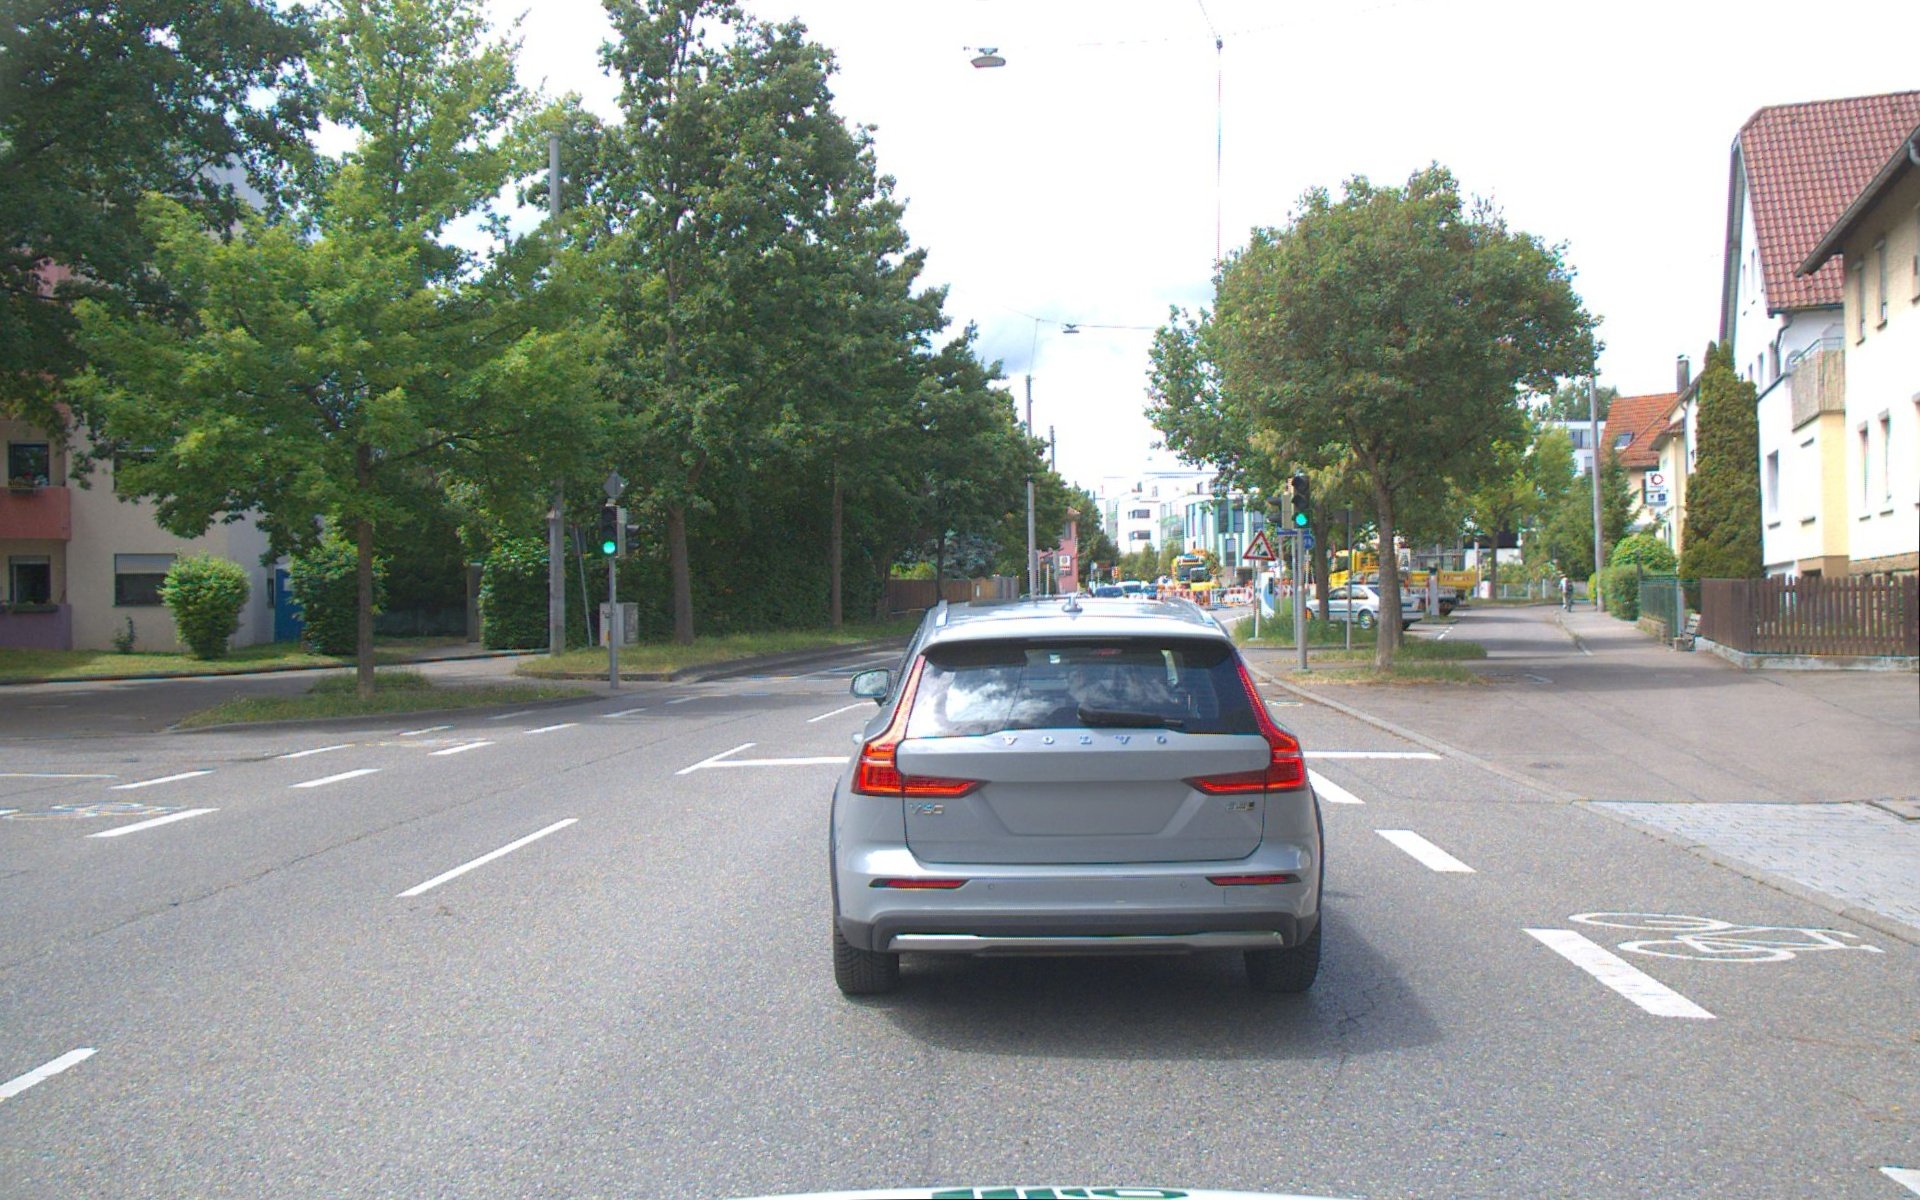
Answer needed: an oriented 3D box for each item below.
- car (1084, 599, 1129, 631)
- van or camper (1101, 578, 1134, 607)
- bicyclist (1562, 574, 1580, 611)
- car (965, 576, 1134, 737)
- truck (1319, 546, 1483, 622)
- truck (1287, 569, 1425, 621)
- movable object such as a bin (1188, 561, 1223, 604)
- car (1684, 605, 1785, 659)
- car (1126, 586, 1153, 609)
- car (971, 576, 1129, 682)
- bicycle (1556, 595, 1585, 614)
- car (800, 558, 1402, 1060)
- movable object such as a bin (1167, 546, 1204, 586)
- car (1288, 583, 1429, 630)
[{"bbox_3d":[6.849,0.699,76.870,1.789,1.353,4.003,1,-2,9],"label":"car"},{"bbox_3d":[10.121,-0.497,105.916,1.821,1.807,4.384,-1,0,9],"label":"van or camper"},{"bbox_3d":[26.993,-0.322,73.102,0.577,1.586,0.566,1,-1,-2],"label":"bicyclist"},{"bbox_3d":[0.945,0.568,18.107,1.627,1.534,3.703,2,0,2],"label":"car"},{"bbox_3d":[18.796,-0.660,70.916,2.737,3.061,6.626,2,-1,-34],"label":"truck"},{"bbox_3d":[16.442,-0.202,68.985,1.979,2.049,5.601,2,-1,-38],"label":"truck"},{"bbox_3d":[16.283,-1.139,109.389,1.991,2.689,5.945,-2,0,11],"label":"movable object such as a bin"},{"bbox_3d":[17.467,0.710,37.416,1.431,1.144,3.874,1,-1,16],"label":"car"},{"bbox_3d":[14.301,-0.168,131.871,1.951,1.768,4.002,1,-1,5],"label":"car"},{"bbox_3d":[1.545,0.457,26.808,2.057,1.536,4.003,1,-1,10],"label":"car"},{"bbox_3d":[26.981,0.206,73.120,0.582,0.826,1.753,1,0,-1],"label":"bicycle"},{"bbox_3d":[0.463,0.628,7.251,1.888,1.567,4.000,-1,1,0],"label":"car"},{"bbox_3d":[18.062,-2.706,132.834,2.262,3.042,6.429,-2,0,3],"label":"movable object such as a bin"},{"bbox_3d":[13.051,0.185,54.378,1.745,1.477,4.637,-1,1,-32],"label":"car"}]
